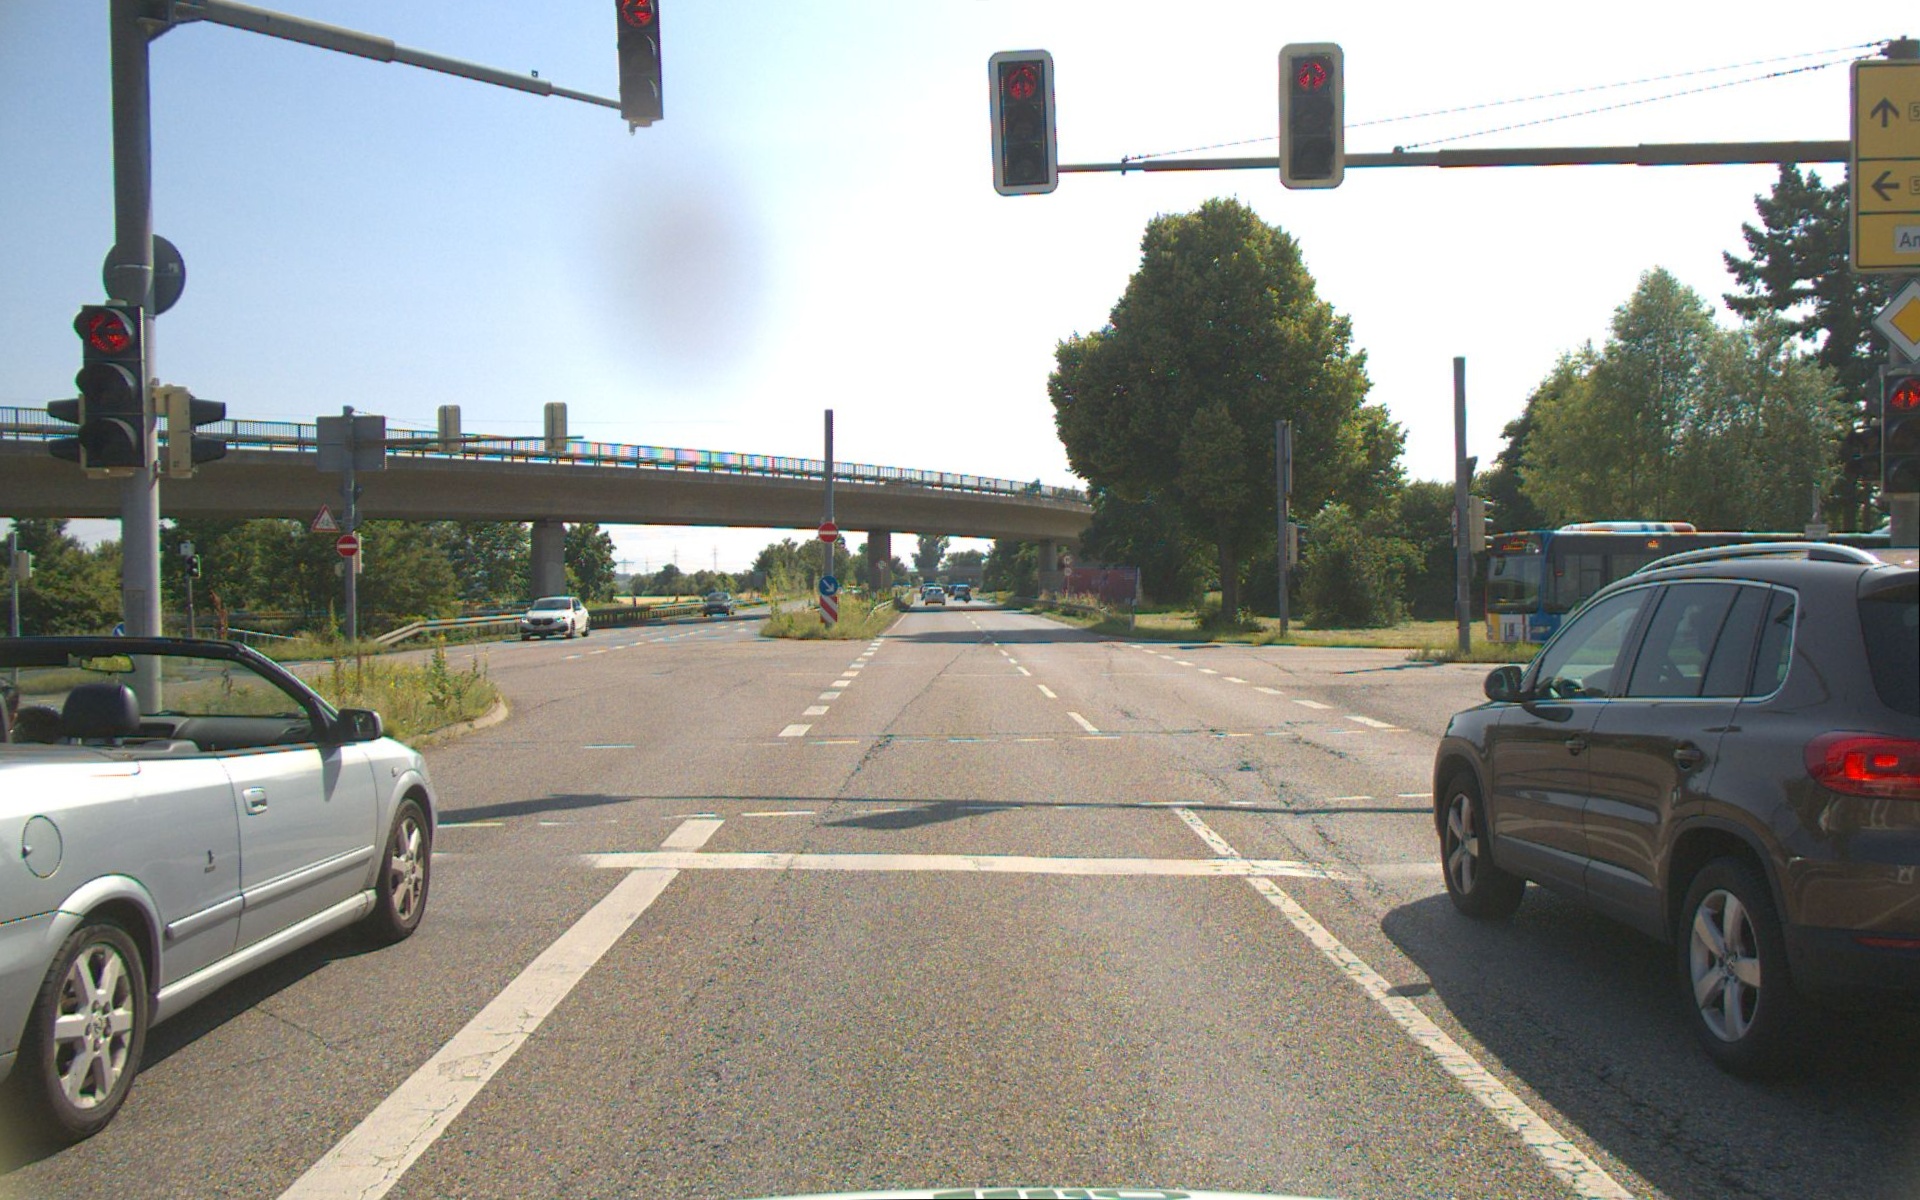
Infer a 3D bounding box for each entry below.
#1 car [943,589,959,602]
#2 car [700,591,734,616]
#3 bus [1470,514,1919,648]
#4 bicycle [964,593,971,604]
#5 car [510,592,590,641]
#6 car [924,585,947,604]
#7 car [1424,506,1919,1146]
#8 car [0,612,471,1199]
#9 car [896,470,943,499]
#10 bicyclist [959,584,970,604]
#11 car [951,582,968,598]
[{"bbox_3d":[-1.165,-0.601,216.719,1.953,1.660,3.999,2,0,-1],"label":"car"},{"bbox_3d":[-15.486,0.226,105.452,1.582,1.467,3.776,-3,0,-1],"label":"car"},{"bbox_3d":[18.547,-0.529,40.757,11.744,2.927,2.929,-2,0,-16],"label":"bus"},{"bbox_3d":[0.715,-0.152,158.108,0.588,1.000,2.360,-1,0,0],"label":"bicycle"},{"bbox_3d":[-14.451,0.555,58.518,1.845,1.541,4.147,-4,0,-2],"label":"car"},{"bbox_3d":[-1.989,-0.470,136.124,1.813,1.486,4.000,1,1,0],"label":"car"},{"bbox_3d":[3.303,0.597,6.453,1.720,1.684,4.145,1,0,-1],"label":"car"},{"bbox_3d":[-3.116,0.767,5.694,1.639,1.358,4.097,-1,0,0],"label":"car"},{"bbox_3d":[-2.398,-6.861,98.231,1.295,1.512,3.191,-1,1,31],"label":"car"},{"bbox_3d":[0.424,-0.606,158.358,0.986,1.919,1.327,-1,0,0],"label":"bicyclist"},{"bbox_3d":[-0.053,-1.120,182.792,1.835,1.668,4.000,1,1,0],"label":"car"}]
